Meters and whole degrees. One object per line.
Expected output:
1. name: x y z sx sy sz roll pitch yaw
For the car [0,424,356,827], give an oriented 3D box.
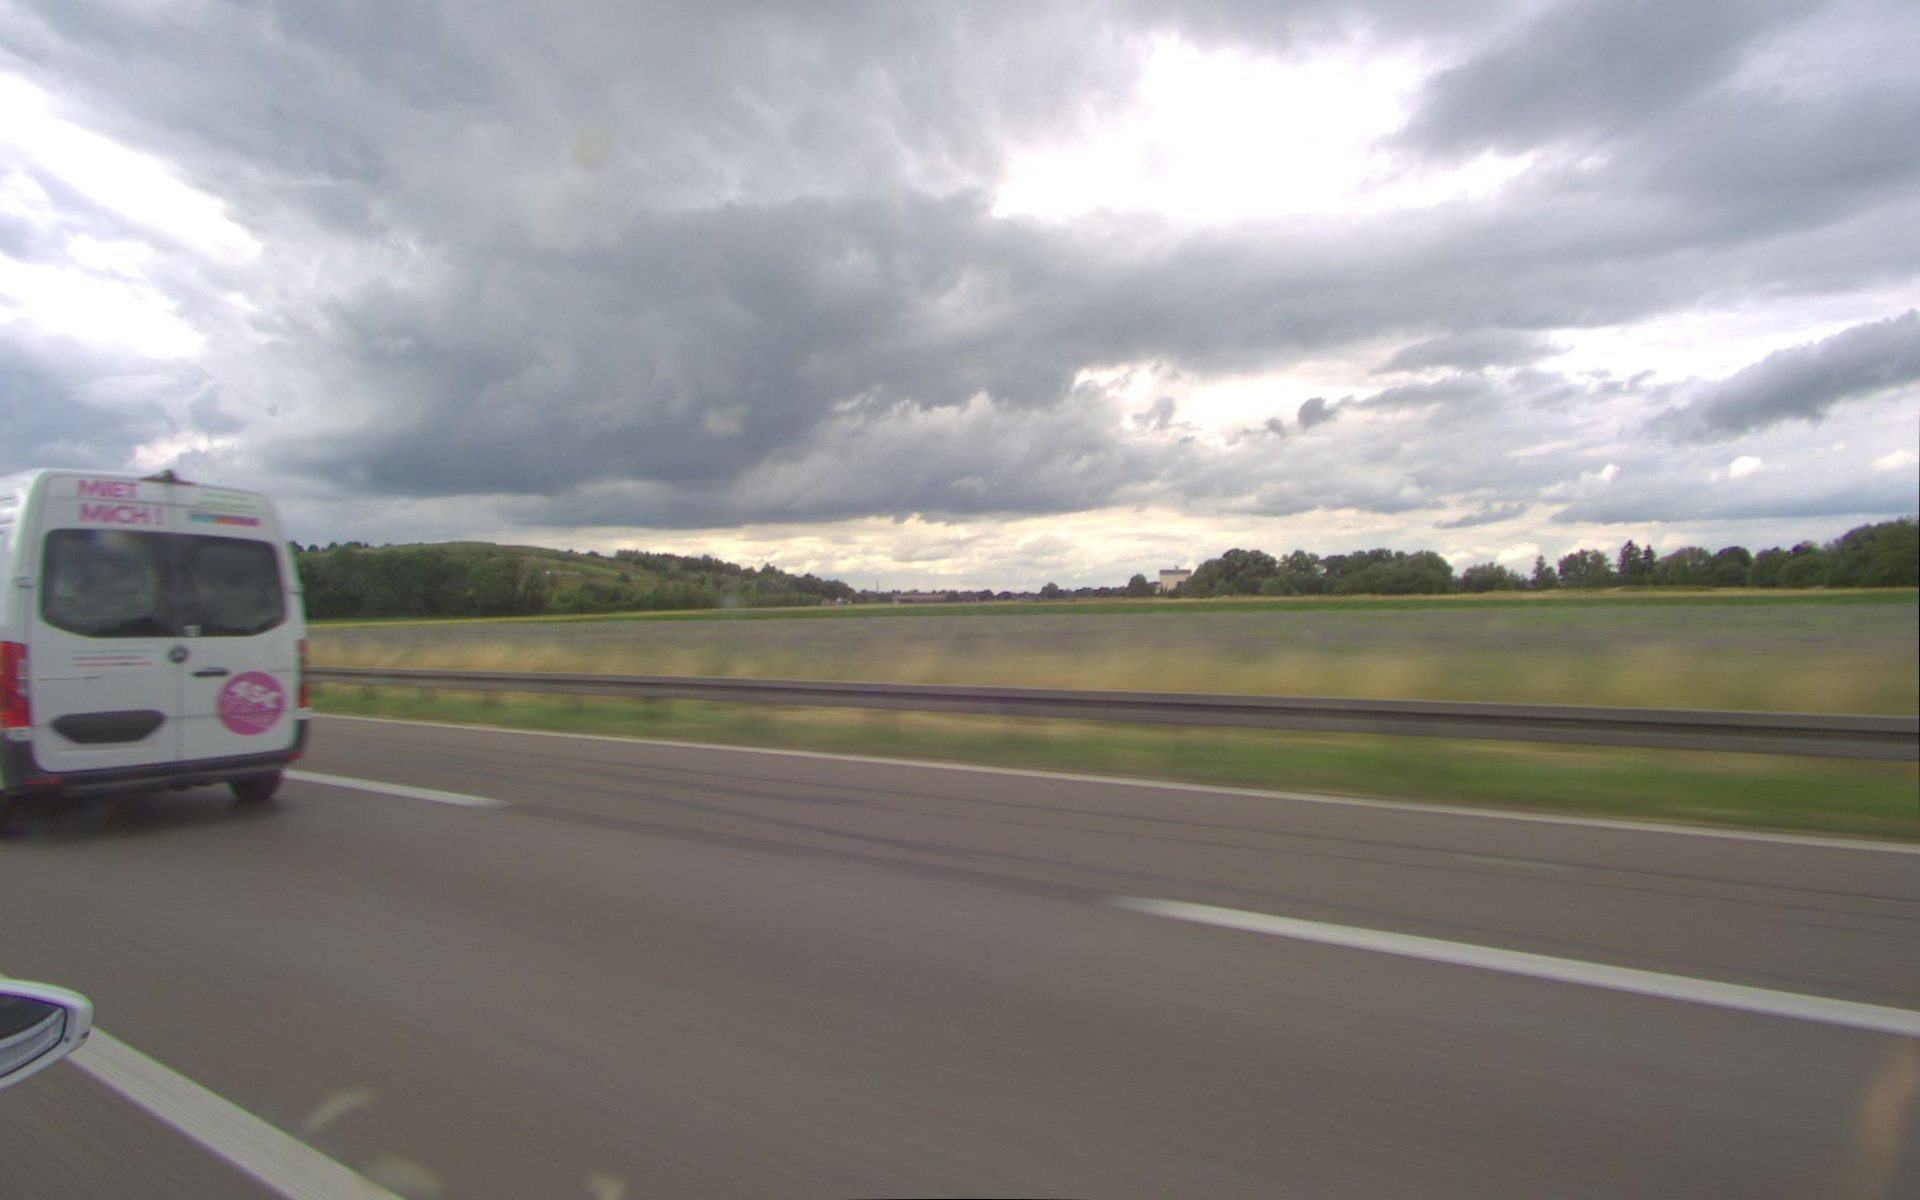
1. car: -8.205 0.212 9.071 6.167 2.601 2.217 -1 -1 33
